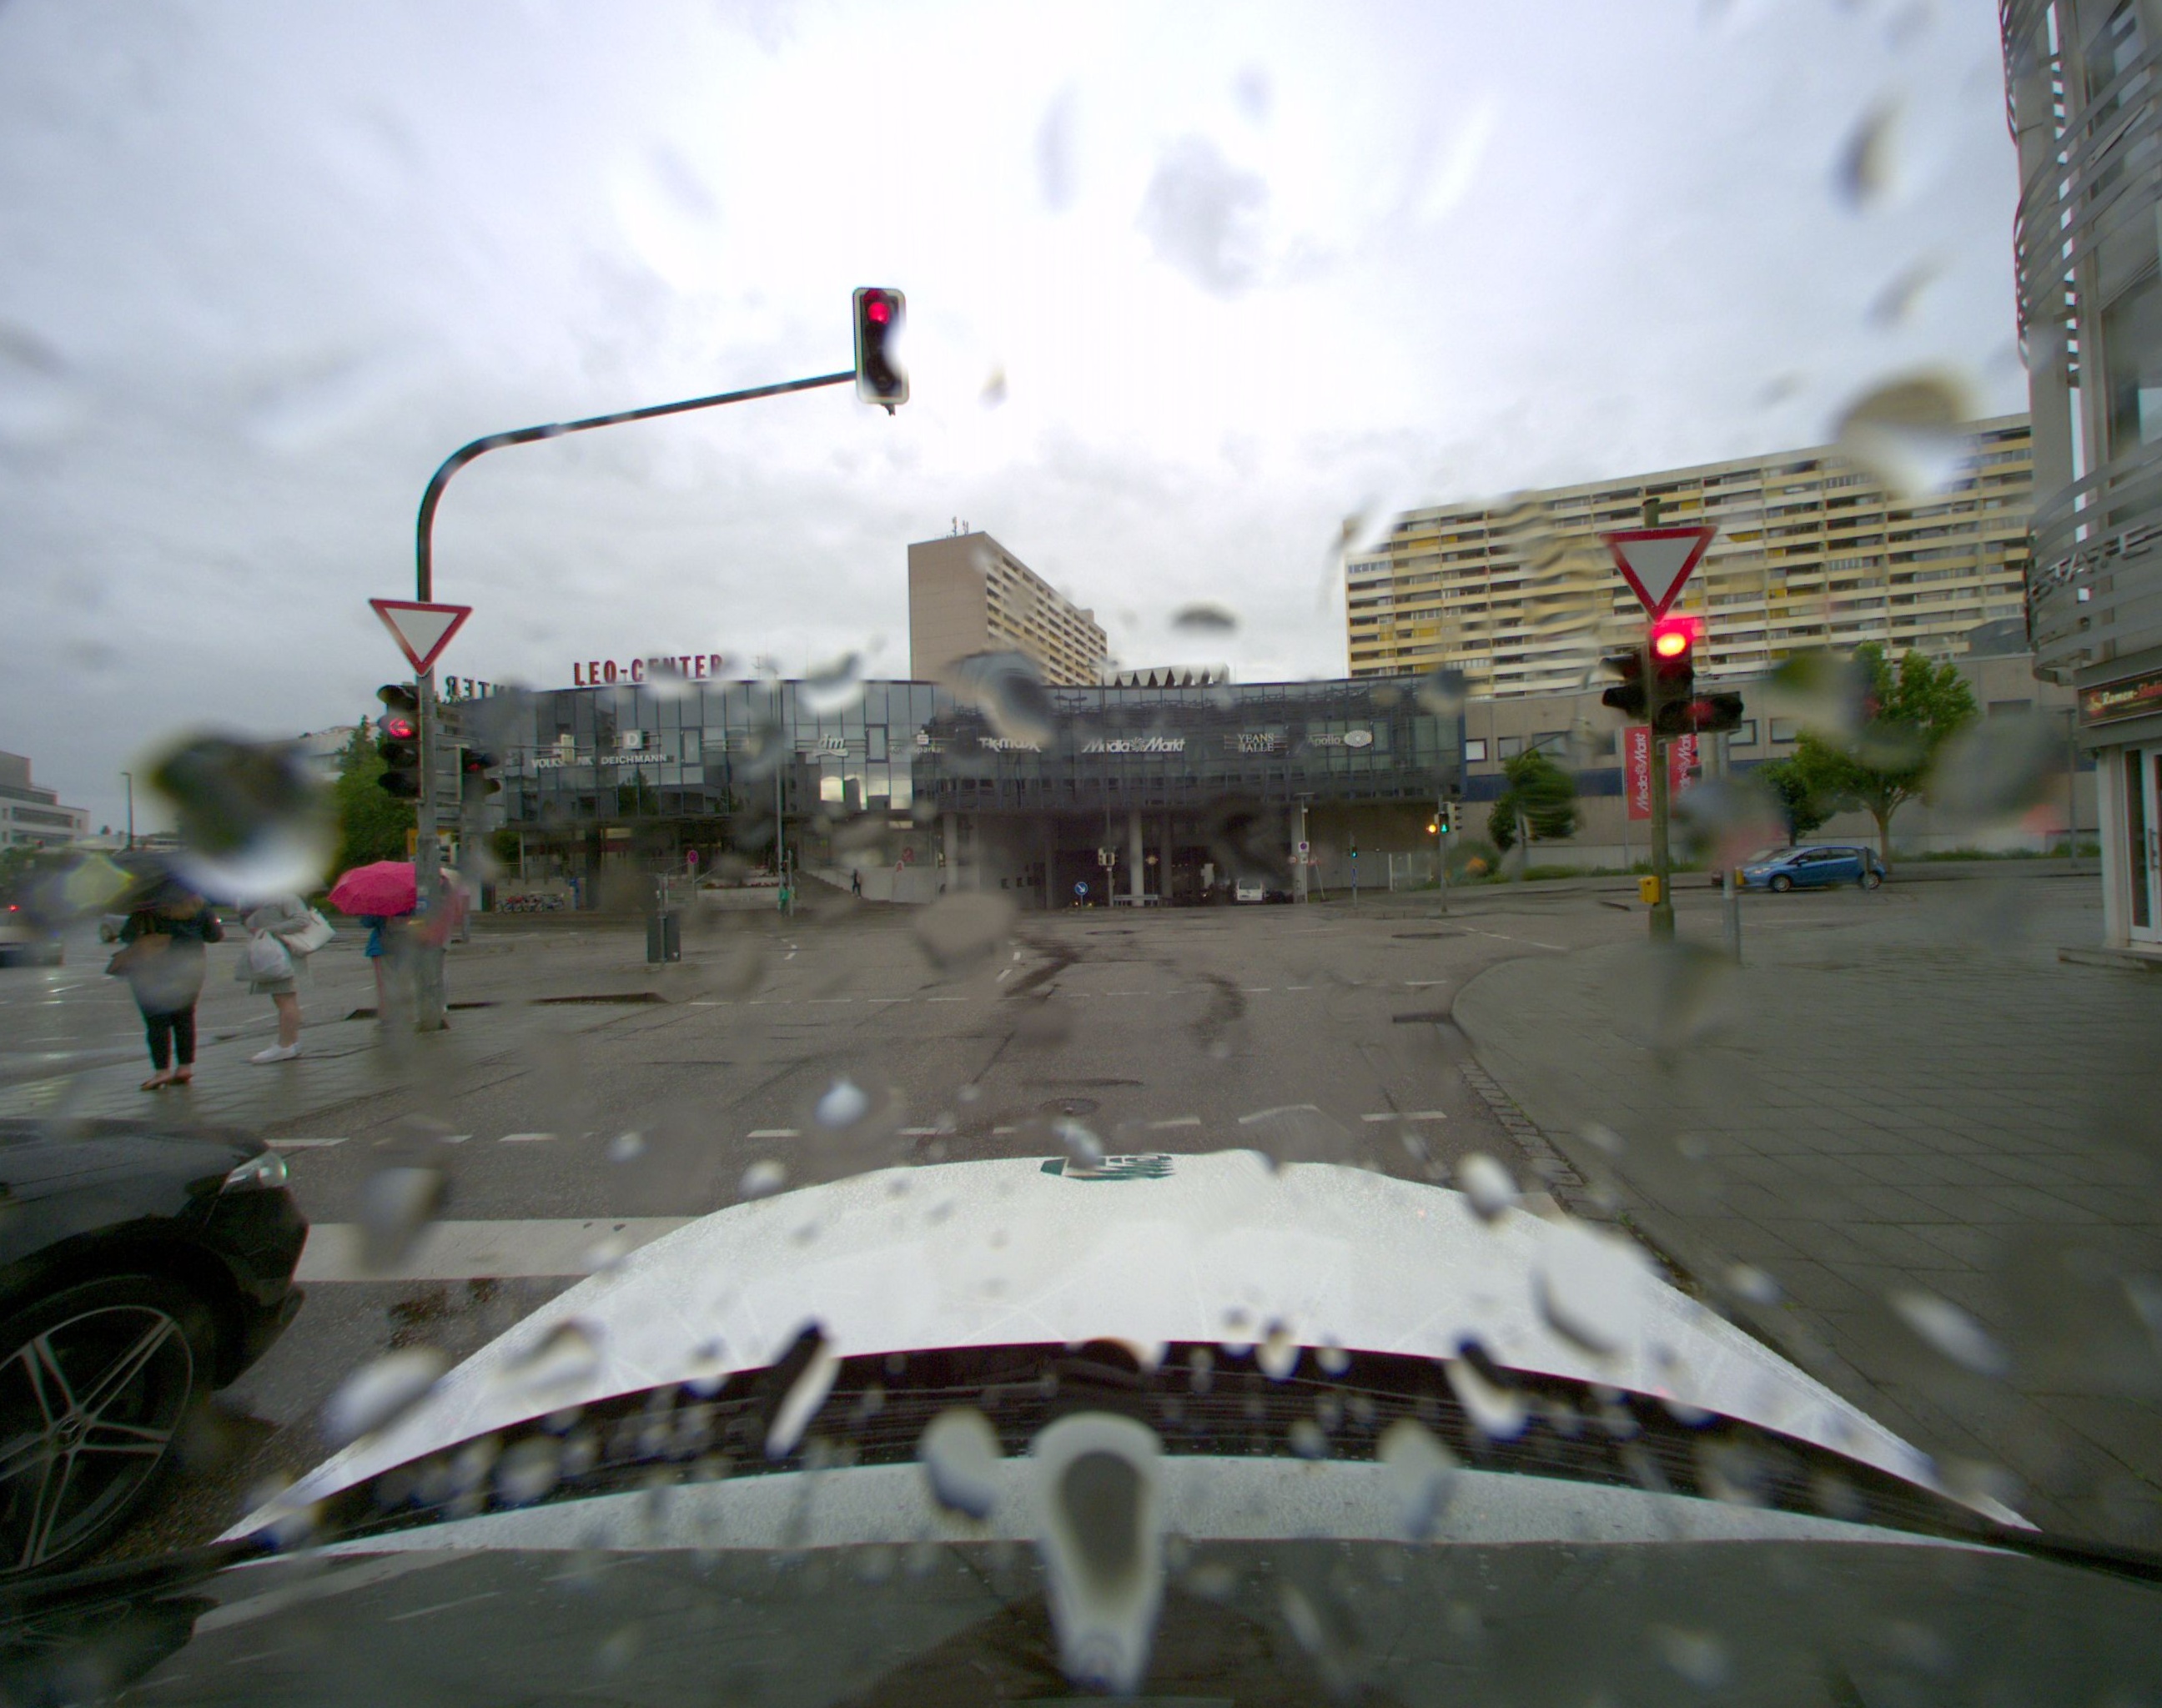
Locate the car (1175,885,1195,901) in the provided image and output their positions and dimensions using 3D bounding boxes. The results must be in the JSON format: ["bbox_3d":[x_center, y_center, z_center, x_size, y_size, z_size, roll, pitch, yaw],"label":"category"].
[{"bbox_3d":[12.261,4.586,95.897,1.823,1.728,4.014,-2,-1,13],"label":"car"}]

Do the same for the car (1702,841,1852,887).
[{"bbox_3d":[24.856,0.357,29.228,3.660,1.395,1.750,-3,-2,11],"label":"car"}]

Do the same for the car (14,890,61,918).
[{"bbox_3d":[-75.163,3.564,58.673,4.085,1.896,2.062,-1,-1,38],"label":"car"}]

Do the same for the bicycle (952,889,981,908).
[{"bbox_3d":[-6.884,2.668,48.983,1.591,1.018,0.448,5,-4,-29],"label":"bicycle"}]

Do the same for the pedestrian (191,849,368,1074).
[{"bbox_3d":[-6.892,0.853,7.007,1.123,1.744,0.865,-3,-1,34],"label":"pedestrian"}]

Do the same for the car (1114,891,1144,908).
[{"bbox_3d":[4.430,4.177,74.418,1.756,1.464,3.892,-3,-4,17],"label":"car"}]

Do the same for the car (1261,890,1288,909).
[{"bbox_3d":[15.647,3.663,65.616,1.765,1.400,4.017,-3,-4,17],"label":"car"}]

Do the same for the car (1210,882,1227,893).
[{"bbox_3d":[19.306,4.697,114.249,1.979,1.464,4.016,-3,-2,15],"label":"car"}]

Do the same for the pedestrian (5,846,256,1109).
[{"bbox_3d":[-6.966,0.837,6.043,0.956,1.736,0.829,-2,-2,-28],"label":"pedestrian"}]

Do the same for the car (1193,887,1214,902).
[{"bbox_3d":[15.256,5.041,101.607,1.978,1.664,4.018,-1,-1,17],"label":"car"}]

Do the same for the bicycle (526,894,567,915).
[{"bbox_3d":[-30.090,2.842,45.891,0.625,1.023,1.864,-3,1,20],"label":"bicycle"}]

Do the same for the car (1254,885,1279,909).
[{"bbox_3d":[13.854,3.232,60.766,1.621,1.612,4.277,-4,-5,14],"label":"car"}]

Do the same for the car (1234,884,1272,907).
[{"bbox_3d":[11.873,2.867,56.076,1.742,1.464,3.963,-3,-5,23],"label":"car"}]

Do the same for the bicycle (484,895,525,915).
[{"bbox_3d":[-33.074,2.925,46.750,0.529,0.951,1.865,-1,2,23],"label":"bicycle"}]

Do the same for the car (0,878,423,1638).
[{"bbox_3d":[-2.996,0.833,0.606,1.657,1.481,4.094,0,0,0],"label":"car"}]

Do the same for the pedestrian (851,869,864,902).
[{"bbox_3d":[-13.048,1.811,47.536,0.655,1.908,0.593,-1,-1,-6],"label":"pedestrian"}]

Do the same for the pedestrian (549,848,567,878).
[{"bbox_3d":[-30.847,0.525,48.042,0.592,1.714,0.658,-1,-1,25],"label":"pedestrian"}]

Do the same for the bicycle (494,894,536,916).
[{"bbox_3d":[-32.387,2.911,46.613,0.621,1.033,1.865,-3,1,20],"label":"bicycle"}]

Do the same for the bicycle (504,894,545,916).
[{"bbox_3d":[-31.677,2.898,46.368,0.640,1.042,1.865,-3,1,20],"label":"bicycle"}]

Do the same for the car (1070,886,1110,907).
[{"bbox_3d":[0.739,3.309,62.635,1.877,1.470,4.044,-2,-5,18],"label":"car"}]

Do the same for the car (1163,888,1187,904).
[{"bbox_3d":[10.516,4.731,91.134,1.899,1.588,3.956,-3,-2,17],"label":"car"}]

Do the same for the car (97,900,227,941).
[{"bbox_3d":[-35.260,2.542,31.275,3.949,1.441,1.754,-2,-1,16],"label":"car"}]

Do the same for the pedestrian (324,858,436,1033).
[{"bbox_3d":[-7.266,0.902,8.443,0.665,1.685,0.811,-4,-2,45],"label":"pedestrian"}]

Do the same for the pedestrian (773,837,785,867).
[{"bbox_3d":[-18.236,-0.122,49.121,0.633,1.807,0.501,0,-1,-16],"label":"pedestrian"}]

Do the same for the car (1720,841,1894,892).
[{"bbox_3d":[23.398,0.416,26.382,3.819,1.397,1.684,-3,-2,10],"label":"car"}]

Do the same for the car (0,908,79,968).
[{"bbox_3d":[-28.245,2.168,21.116,5.079,1.414,2.136,-3,-2,31],"label":"car"}]

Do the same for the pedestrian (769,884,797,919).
[{"bbox_3d":[-14.260,2.269,38.994,0.945,1.623,0.809,-2,-1,2],"label":"pedestrian"}]

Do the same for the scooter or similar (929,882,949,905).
[{"bbox_3d":[-8.471,2.363,48.527,1.167,1.373,0.487,0,-1,-13],"label":"scooter or similar"}]

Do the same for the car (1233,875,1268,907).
[{"bbox_3d":[10.138,2.191,48.497,1.912,1.798,4.310,-2,-3,13],"label":"car"}]

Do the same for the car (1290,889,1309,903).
[{"bbox_3d":[24.279,4.630,90.411,1.874,1.491,3.856,-1,-1,16],"label":"car"}]

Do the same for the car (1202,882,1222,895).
[{"bbox_3d":[17.591,4.620,109.206,1.978,1.464,4.018,-3,-2,17],"label":"car"}]

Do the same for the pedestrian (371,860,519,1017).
[{"bbox_3d":[-7.241,0.926,9.321,0.932,1.677,0.917,-2,-1,1],"label":"pedestrian"}]
